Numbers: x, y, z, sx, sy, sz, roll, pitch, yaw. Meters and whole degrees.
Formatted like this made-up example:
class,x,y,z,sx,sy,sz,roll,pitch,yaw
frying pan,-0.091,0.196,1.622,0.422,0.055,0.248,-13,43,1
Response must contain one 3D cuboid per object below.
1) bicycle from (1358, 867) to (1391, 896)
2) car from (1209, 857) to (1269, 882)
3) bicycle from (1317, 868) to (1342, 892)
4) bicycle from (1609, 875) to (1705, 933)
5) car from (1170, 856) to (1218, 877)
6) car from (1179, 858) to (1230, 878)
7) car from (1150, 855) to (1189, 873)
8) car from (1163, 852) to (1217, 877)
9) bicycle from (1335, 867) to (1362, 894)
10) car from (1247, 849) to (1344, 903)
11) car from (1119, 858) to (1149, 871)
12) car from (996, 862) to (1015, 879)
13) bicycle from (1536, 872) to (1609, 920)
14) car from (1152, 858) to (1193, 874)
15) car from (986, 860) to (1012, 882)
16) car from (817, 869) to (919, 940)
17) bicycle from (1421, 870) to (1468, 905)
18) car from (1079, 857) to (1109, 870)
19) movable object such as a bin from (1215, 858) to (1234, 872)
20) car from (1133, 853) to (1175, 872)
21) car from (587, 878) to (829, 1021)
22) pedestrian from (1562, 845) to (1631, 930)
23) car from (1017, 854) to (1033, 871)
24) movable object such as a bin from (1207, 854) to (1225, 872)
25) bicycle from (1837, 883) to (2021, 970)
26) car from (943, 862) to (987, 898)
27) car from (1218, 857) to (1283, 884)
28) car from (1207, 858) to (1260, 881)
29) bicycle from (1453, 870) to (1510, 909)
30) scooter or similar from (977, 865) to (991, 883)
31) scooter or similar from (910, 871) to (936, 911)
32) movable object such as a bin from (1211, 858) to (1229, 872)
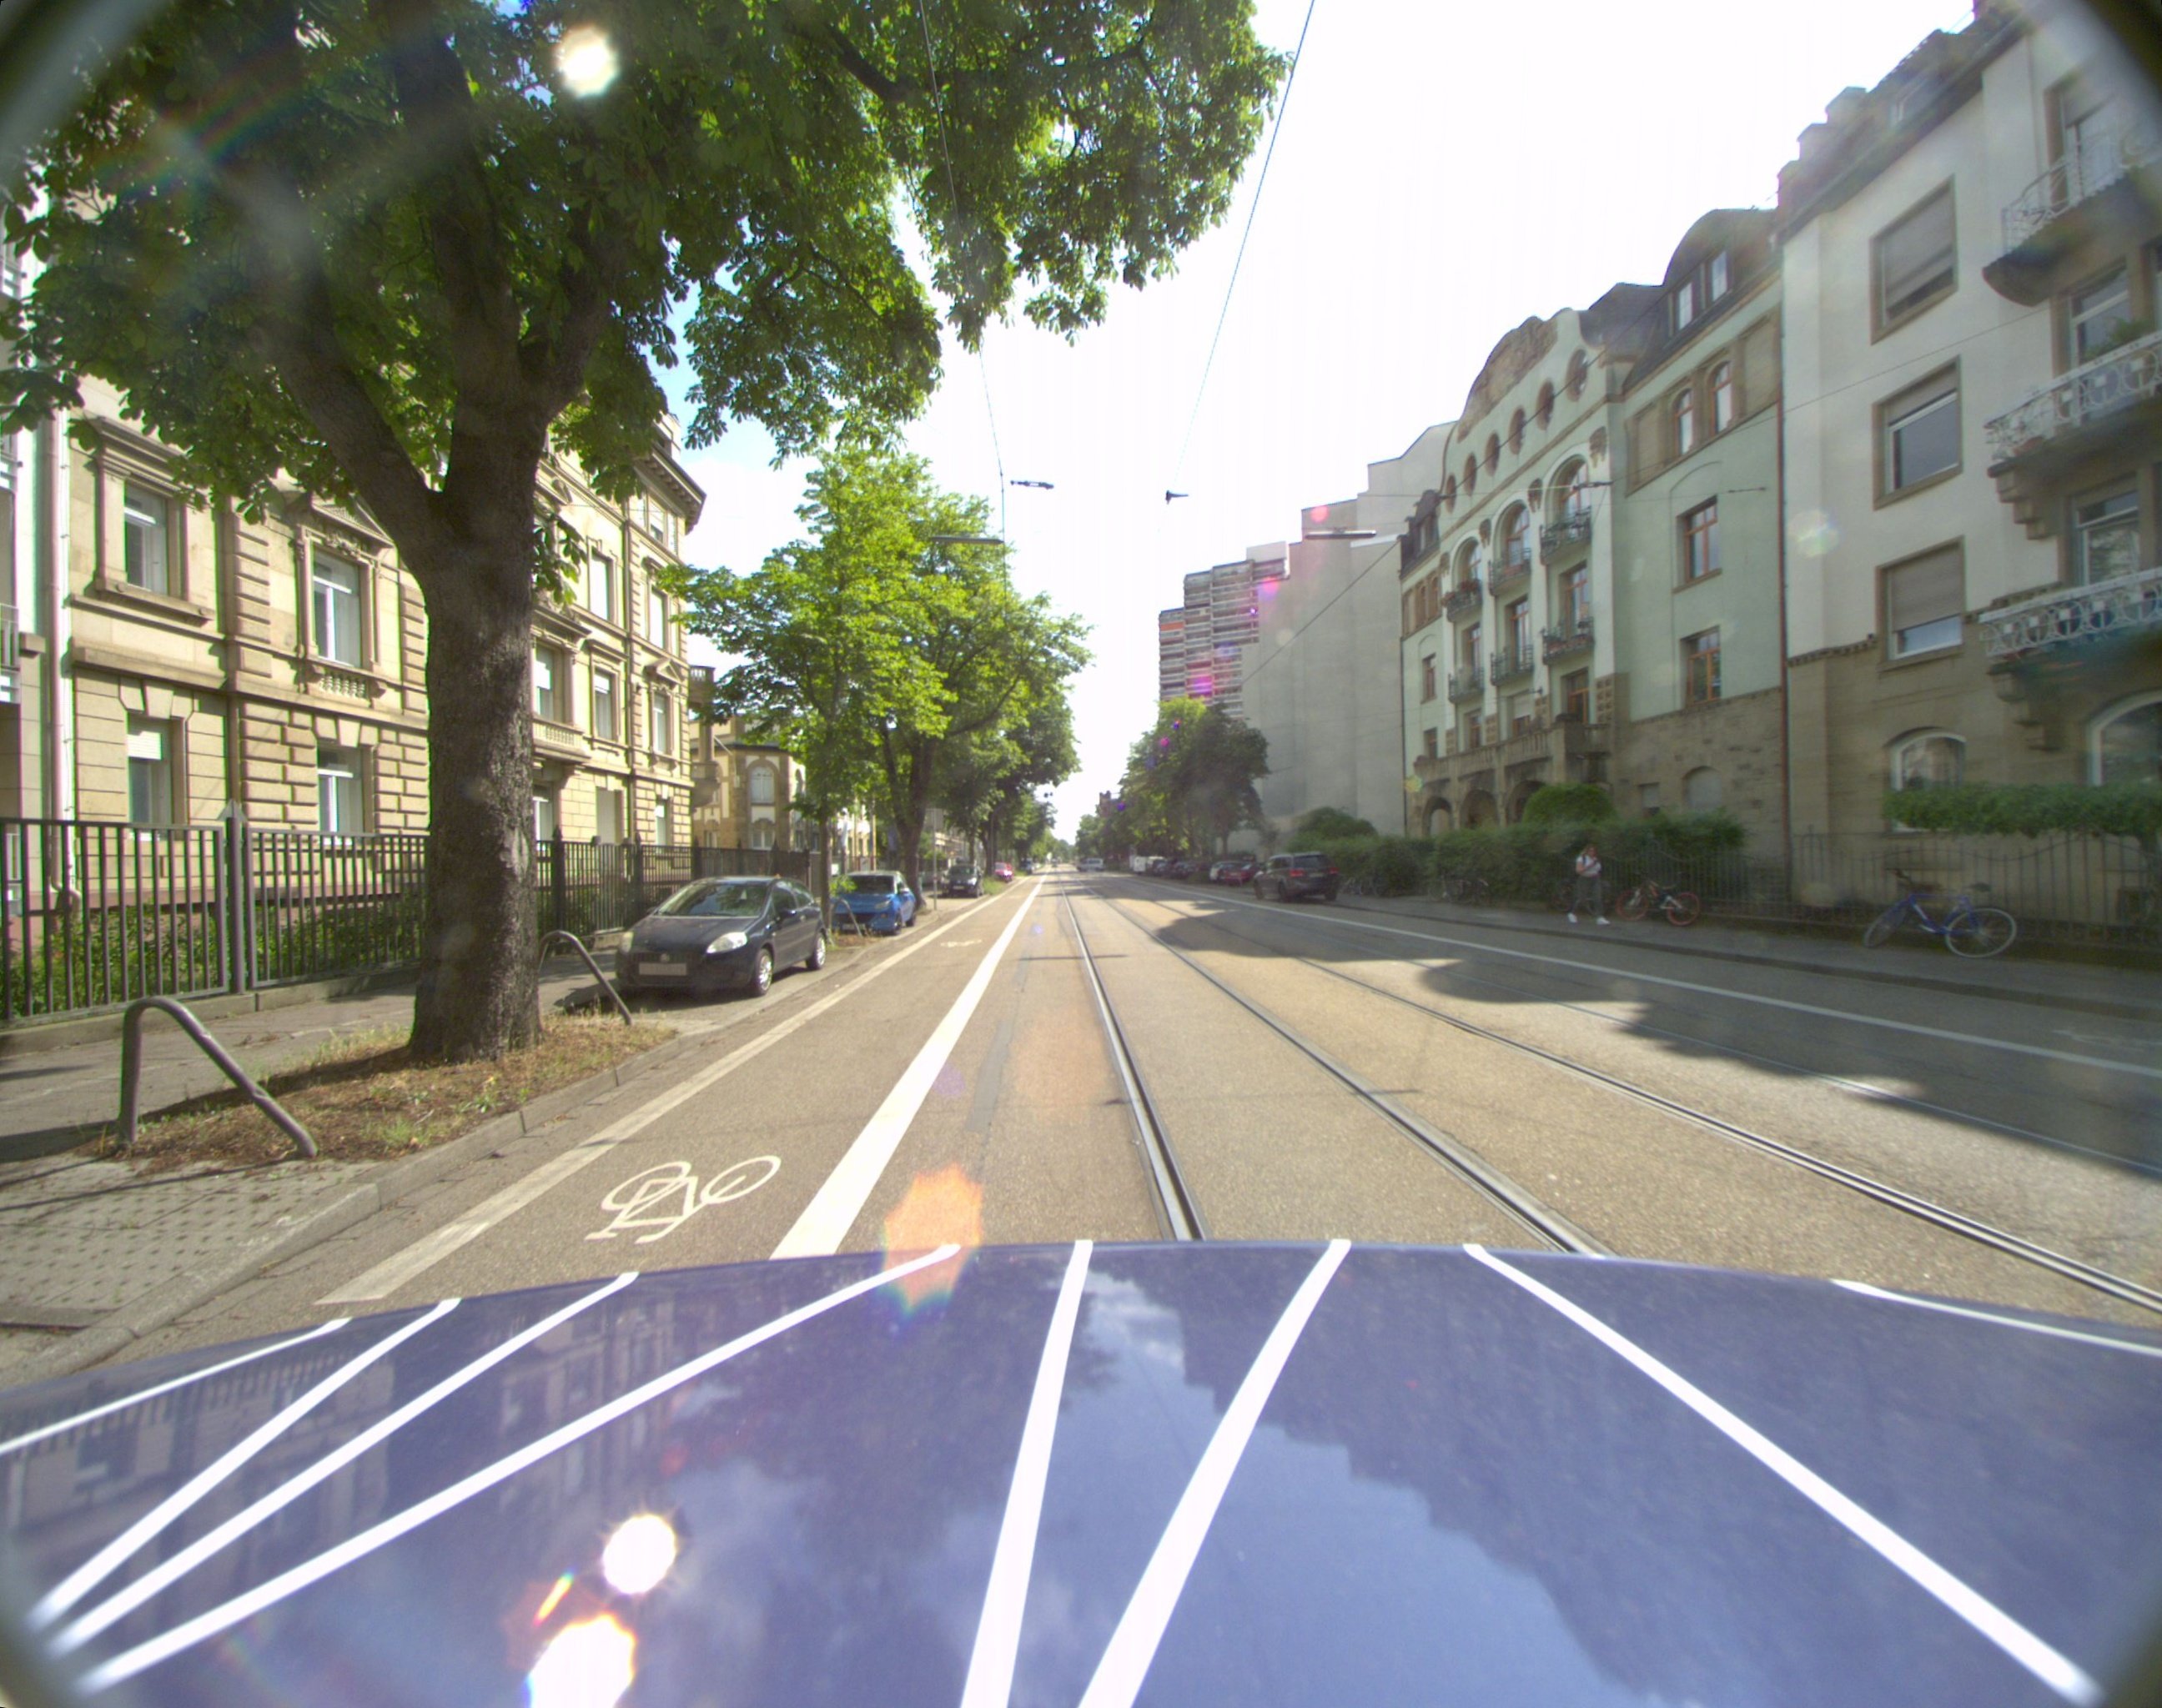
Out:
class,x,y,z,sx,sy,sz,roll,pitch,yaw
bicycle,10.377,0.970,26.952,0.384,0.953,1.921,-3,0,0
car,9.852,0.990,47.321,3.816,1.475,1.693,1,0,-42
bicycle,10.261,1.063,31.427,0.384,0.953,1.810,-3,0,0
bicycle,10.721,0.906,14.222,0.384,0.970,1.801,-3,0,0
car,9.029,1.012,60.445,1.736,1.583,4.009,1,0,44
car,9.289,1.054,57.153,4.009,1.475,1.736,1,0,-44
car,8.575,0.986,73.323,1.755,1.683,3.724,1,0,44
car,9.190,0.898,63.756,1.911,1.942,5.180,1,0,42
bicycle,10.309,1.004,29.335,0.384,0.953,1.810,-3,0,0
car,7.625,0.756,27.551,1.790,1.752,4.881,-1,0,-5
car,6.733,1.334,96.670,1.737,1.514,3.893,-1,0,42
car,-6.763,1.442,67.640,1.605,1.420,3.594,2,0,-7
bicycle,10.759,0.887,16.709,0.384,0.953,1.801,-3,0,0
car,8.454,1.124,70.063,1.755,1.409,4.009,1,0,42
car,-6.488,1.325,60.145,1.881,1.666,4.280,1,0,-4
car,-5.027,1.145,18.390,1.644,1.487,3.626,0,0,-4
bicycle,10.584,0.958,22.191,0.384,0.953,1.921,-3,0,0
car,1.987,1.507,119.924,4.226,1.840,1.896,-4,1,32
movable object such as a bin,14.269,1.108,75.499,1.391,1.356,1.538,2,0,-6
car,7.969,0.947,82.876,4.696,1.985,1.963,-1,0,-44
car,-4.745,1.116,10.297,1.644,1.487,3.756,0,0,-4
pedestrian,10.008,0.634,14.775,0.681,1.559,0.882,-3,0,0
car,-9.102,1.387,123.649,2.338,2.545,5.388,-4,0,-3
movable object such as a bin,14.034,0.907,78.897,1.391,1.771,1.538,2,0,-6
bicycle,10.866,0.888,9.825,0.427,0.953,1.705,-3,0,0
car,-5.634,1.225,37.357,1.701,1.581,4.201,1,0,-3
car,9.881,0.979,44.196,1.841,1.475,3.979,1,0,45
car,10.197,1.020,50.503,1.692,1.475,3.816,1,0,43
bicycle,10.553,0.914,20.081,0.452,0.953,1.800,-3,0,-3
scooter or similar,-6.613,1.353,51.900,0.341,1.230,1.261,2,0,22
scooter or similar,-5.325,1.229,25.565,0.443,1.291,1.179,3,-2,-33
movable object such as a bin,14.143,1.106,77.151,1.391,1.356,1.538,2,0,-6
